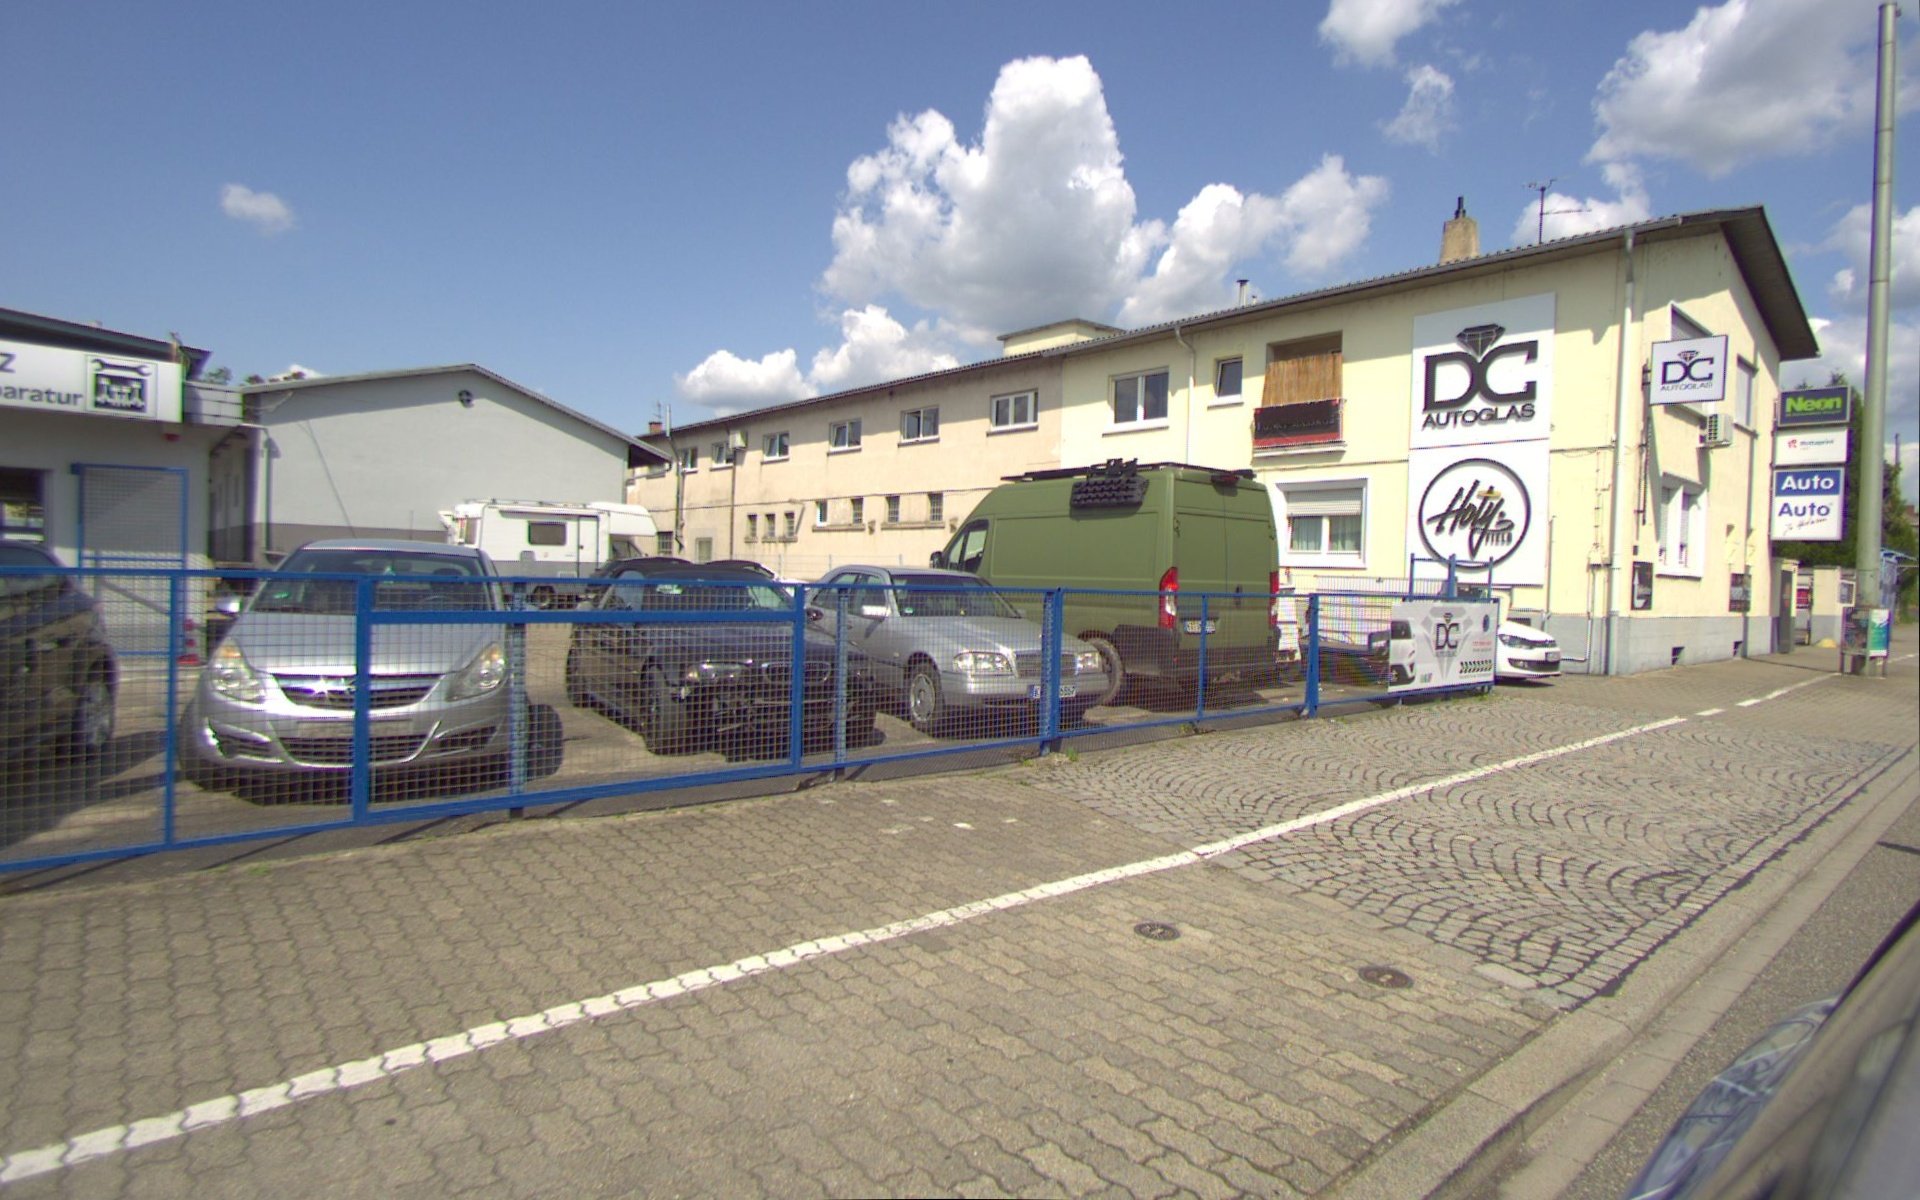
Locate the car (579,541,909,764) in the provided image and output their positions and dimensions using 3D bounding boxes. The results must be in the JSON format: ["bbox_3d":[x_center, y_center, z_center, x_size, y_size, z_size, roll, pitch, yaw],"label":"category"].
[{"bbox_3d":[-2.127,0.276,8.889,1.737,1.470,4.128,1,2,-28],"label":"car"}]

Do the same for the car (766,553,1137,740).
[{"bbox_3d":[-0.337,0.289,10.194,1.679,1.470,4.292,1,2,-33],"label":"car"}]

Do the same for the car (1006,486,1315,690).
[{"bbox_3d":[2.637,-0.222,14.230,1.557,2.436,4.208,1,2,-39],"label":"car"}]

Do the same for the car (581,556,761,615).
[{"bbox_3d":[-7.305,-0.355,25.802,4.112,1.378,1.645,0,2,-41],"label":"car"}]

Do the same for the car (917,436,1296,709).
[{"bbox_3d":[1.589,-0.347,12.247,2.075,2.675,4.208,1,2,-39],"label":"car"}]

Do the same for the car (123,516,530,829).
[{"bbox_3d":[-3.897,0.283,6.832,1.736,1.470,3.778,1,2,-24],"label":"car"}]

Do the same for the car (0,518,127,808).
[{"bbox_3d":[-5.620,0.306,4.867,1.606,1.470,3.700,1,2,-25],"label":"car"}]

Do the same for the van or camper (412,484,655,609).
[{"bbox_3d":[-11.302,-1.321,27.102,5.556,3.002,2.272,0,2,-42],"label":"van or camper"}]

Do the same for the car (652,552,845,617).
[{"bbox_3d":[-4.843,-0.345,23.539,4.112,1.378,1.645,0,2,-41],"label":"car"}]

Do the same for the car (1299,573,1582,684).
[{"bbox_3d":[7.536,0.364,16.170,1.527,1.481,3.775,1,2,-39],"label":"car"}]

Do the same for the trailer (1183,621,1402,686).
[{"bbox_3d":[4.751,0.728,14.642,1.307,0.674,2.730,0,2,-42],"label":"trailer"}]

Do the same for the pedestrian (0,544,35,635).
[{"bbox_3d":[-13.160,-0.155,13.873,0.652,1.224,0.566,1,1,-39],"label":"pedestrian"}]
